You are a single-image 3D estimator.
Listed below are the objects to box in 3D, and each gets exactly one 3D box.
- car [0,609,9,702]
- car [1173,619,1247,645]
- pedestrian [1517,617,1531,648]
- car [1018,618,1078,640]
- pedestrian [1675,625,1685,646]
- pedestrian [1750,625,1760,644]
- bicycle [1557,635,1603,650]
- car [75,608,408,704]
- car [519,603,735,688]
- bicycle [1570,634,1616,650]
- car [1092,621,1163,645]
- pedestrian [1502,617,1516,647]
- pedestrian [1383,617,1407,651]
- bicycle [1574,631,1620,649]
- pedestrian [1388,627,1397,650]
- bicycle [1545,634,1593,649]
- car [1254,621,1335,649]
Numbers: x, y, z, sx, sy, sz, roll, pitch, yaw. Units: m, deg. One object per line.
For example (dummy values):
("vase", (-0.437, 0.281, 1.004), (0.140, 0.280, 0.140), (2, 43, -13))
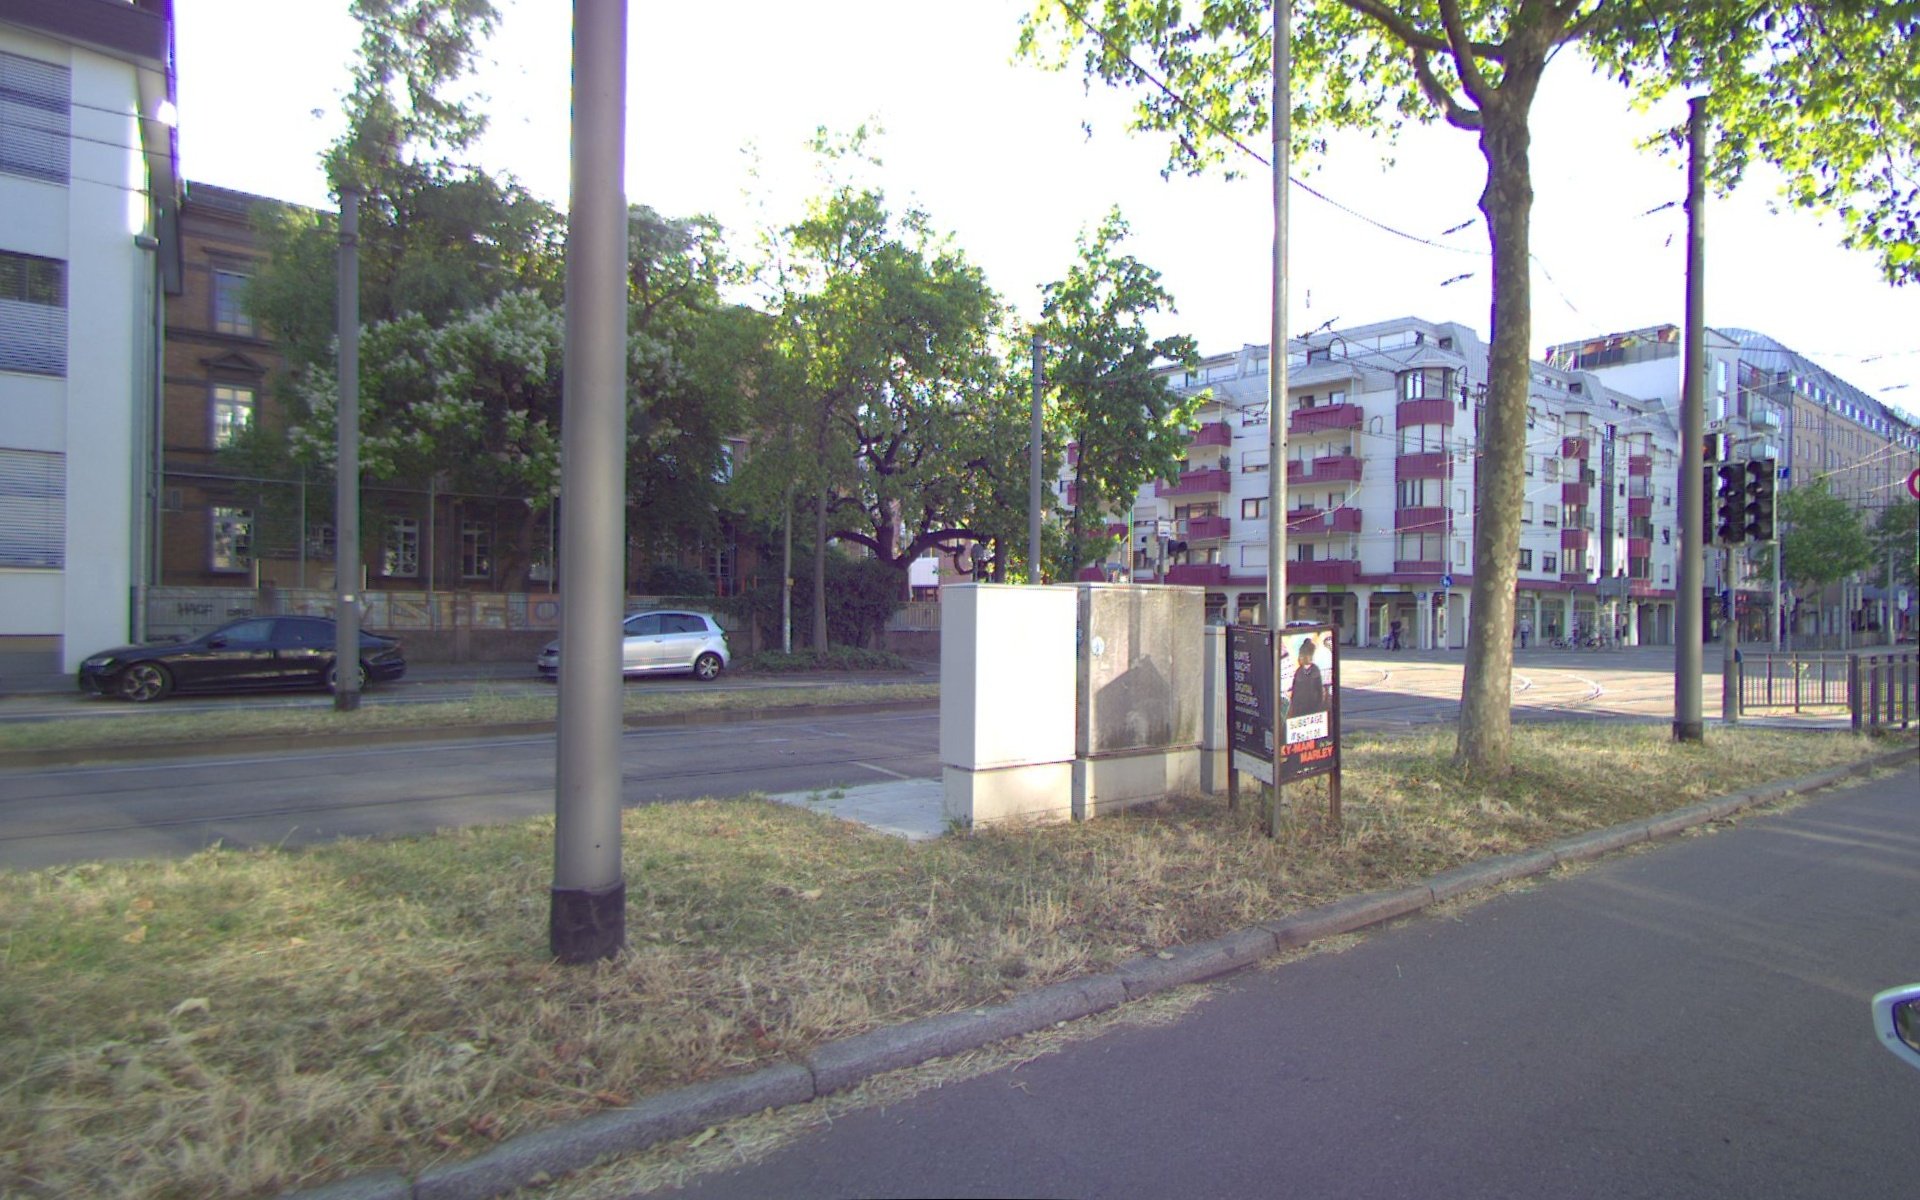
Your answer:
("car", (-16.969, 0.850, 14.603), (4.367, 1.490, 1.978), (1, -1, -39))
("car", (14.873, 1.917, 59.906), (3.943, 1.483, 1.792), (-1, -2, 42))
("pedestrian", (31.309, 1.799, 55.780), (0.523, 1.721, 0.506), (1, -1, -38))
("car", (6.042, 1.983, 69.399), (3.946, 1.483, 1.791), (-1, -2, 44))
("pedestrian", (50.572, 2.507, 70.570), (0.505, 1.478, 0.525), (0, -1, 44))
("pedestrian", (63.160, 2.741, 79.798), (0.523, 1.478, 0.506), (1, -1, -38))
("bicycle", (34.181, 2.342, 55.418), (0.487, 0.797, 2.152), (1, -1, -39))
("car", (-12.609, 0.920, 17.907), (4.609, 1.495, 1.978), (1, -1, -39))
("car", (-7.337, 0.961, 22.316), (4.142, 1.711, 1.978), (1, -1, -39))
("bicycle", (35.337, 2.330, 56.112), (0.523, 0.835, 2.152), (1, -1, -39))
("car", (10.700, 2.070, 64.336), (4.213, 1.483, 1.791), (-1, -2, 44))
("pedestrian", (30.841, 1.794, 56.426), (0.523, 1.721, 0.506), (1, -1, -38))
("pedestrian", (21.247, 1.655, 49.083), (1.025, 1.684, 0.702), (1, -2, -41))
("bicycle", (35.822, 2.229, 56.532), (0.487, 0.963, 2.152), (1, -1, -39))
("pedestrian", (22.975, 2.059, 53.371), (0.316, 1.230, 0.301), (1, -1, -41))
("bicycle", (33.432, 2.275, 55.173), (0.635, 0.797, 2.152), (1, -1, -39))
("car", (18.738, 1.935, 56.275), (3.944, 1.483, 1.792), (-1, -2, 43))
